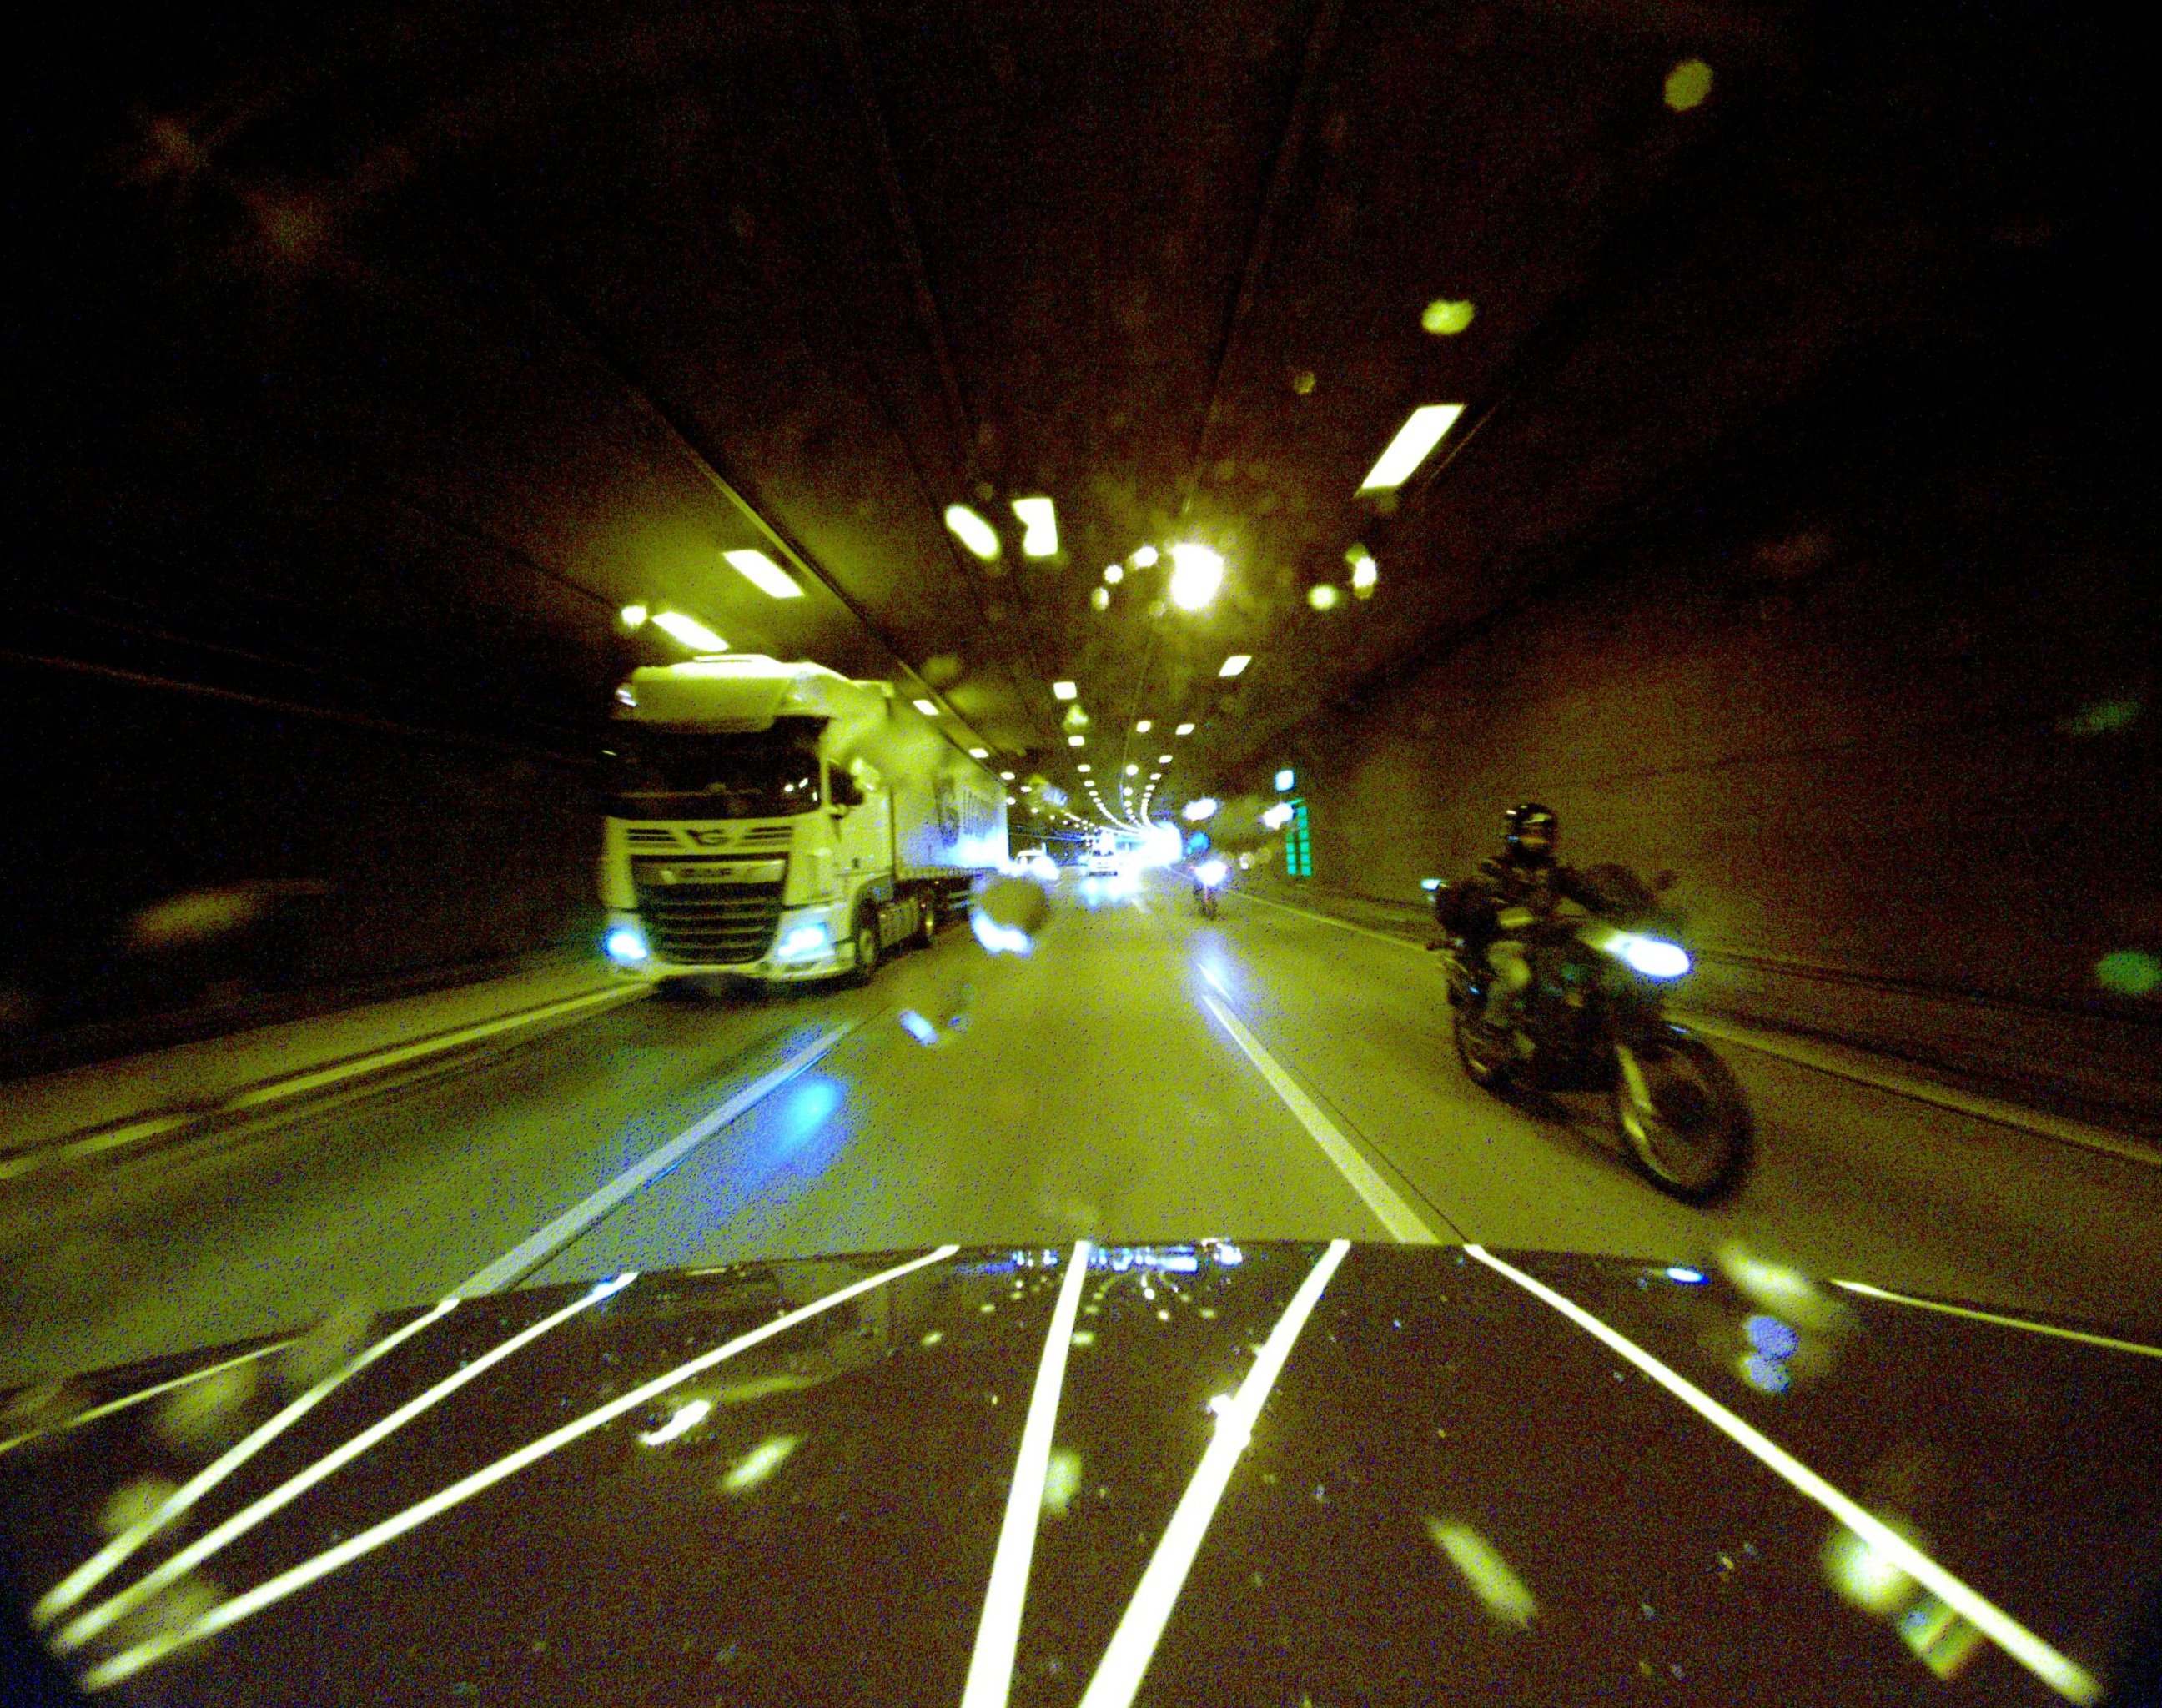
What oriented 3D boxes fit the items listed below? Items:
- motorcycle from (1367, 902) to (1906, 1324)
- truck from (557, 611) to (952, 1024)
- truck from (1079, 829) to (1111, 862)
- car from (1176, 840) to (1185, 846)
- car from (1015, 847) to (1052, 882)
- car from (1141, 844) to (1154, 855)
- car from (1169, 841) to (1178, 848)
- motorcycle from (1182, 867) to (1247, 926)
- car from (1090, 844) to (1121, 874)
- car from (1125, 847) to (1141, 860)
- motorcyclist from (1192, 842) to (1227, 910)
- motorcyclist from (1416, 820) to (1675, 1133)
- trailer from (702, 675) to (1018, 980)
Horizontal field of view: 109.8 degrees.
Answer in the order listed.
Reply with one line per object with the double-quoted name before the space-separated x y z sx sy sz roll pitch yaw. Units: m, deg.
"motorcycle" 2.387 0.967 3.892 0.848 1.238 2.604 -2 1 0
"truck" -3.876 -0.381 10.825 2.652 4.139 6.005 -2 1 2
"truck" 1.832 -1.070 94.200 2.899 3.819 9.000 -3 1 7
"car" 31.461 -3.417 240.389 1.996 1.788 4.004 -2 1 15
"car" -2.676 0.576 43.472 1.840 1.849 4.287 -2 0 0
"car" 12.067 -0.771 137.791 1.997 1.788 4.002 -3 1 10
"car" 24.870 -2.623 204.211 1.997 1.788 4.003 -3 1 11
"motorcycle" 2.929 0.901 17.008 1.056 1.151 2.427 -2 0 1
"car" 1.741 0.324 52.913 1.998 1.890 4.000 -2 0 3
"car" 7.466 -0.087 109.039 1.997 1.788 4.001 -3 1 7
"motorcyclist" 2.890 0.490 17.144 0.628 1.480 0.890 -2 1 1
"motorcyclist" 2.394 0.584 4.027 0.841 1.469 0.821 -2 1 1
"trailer" -3.674 -0.408 17.649 2.627 4.139 14.001 -3 0 2
